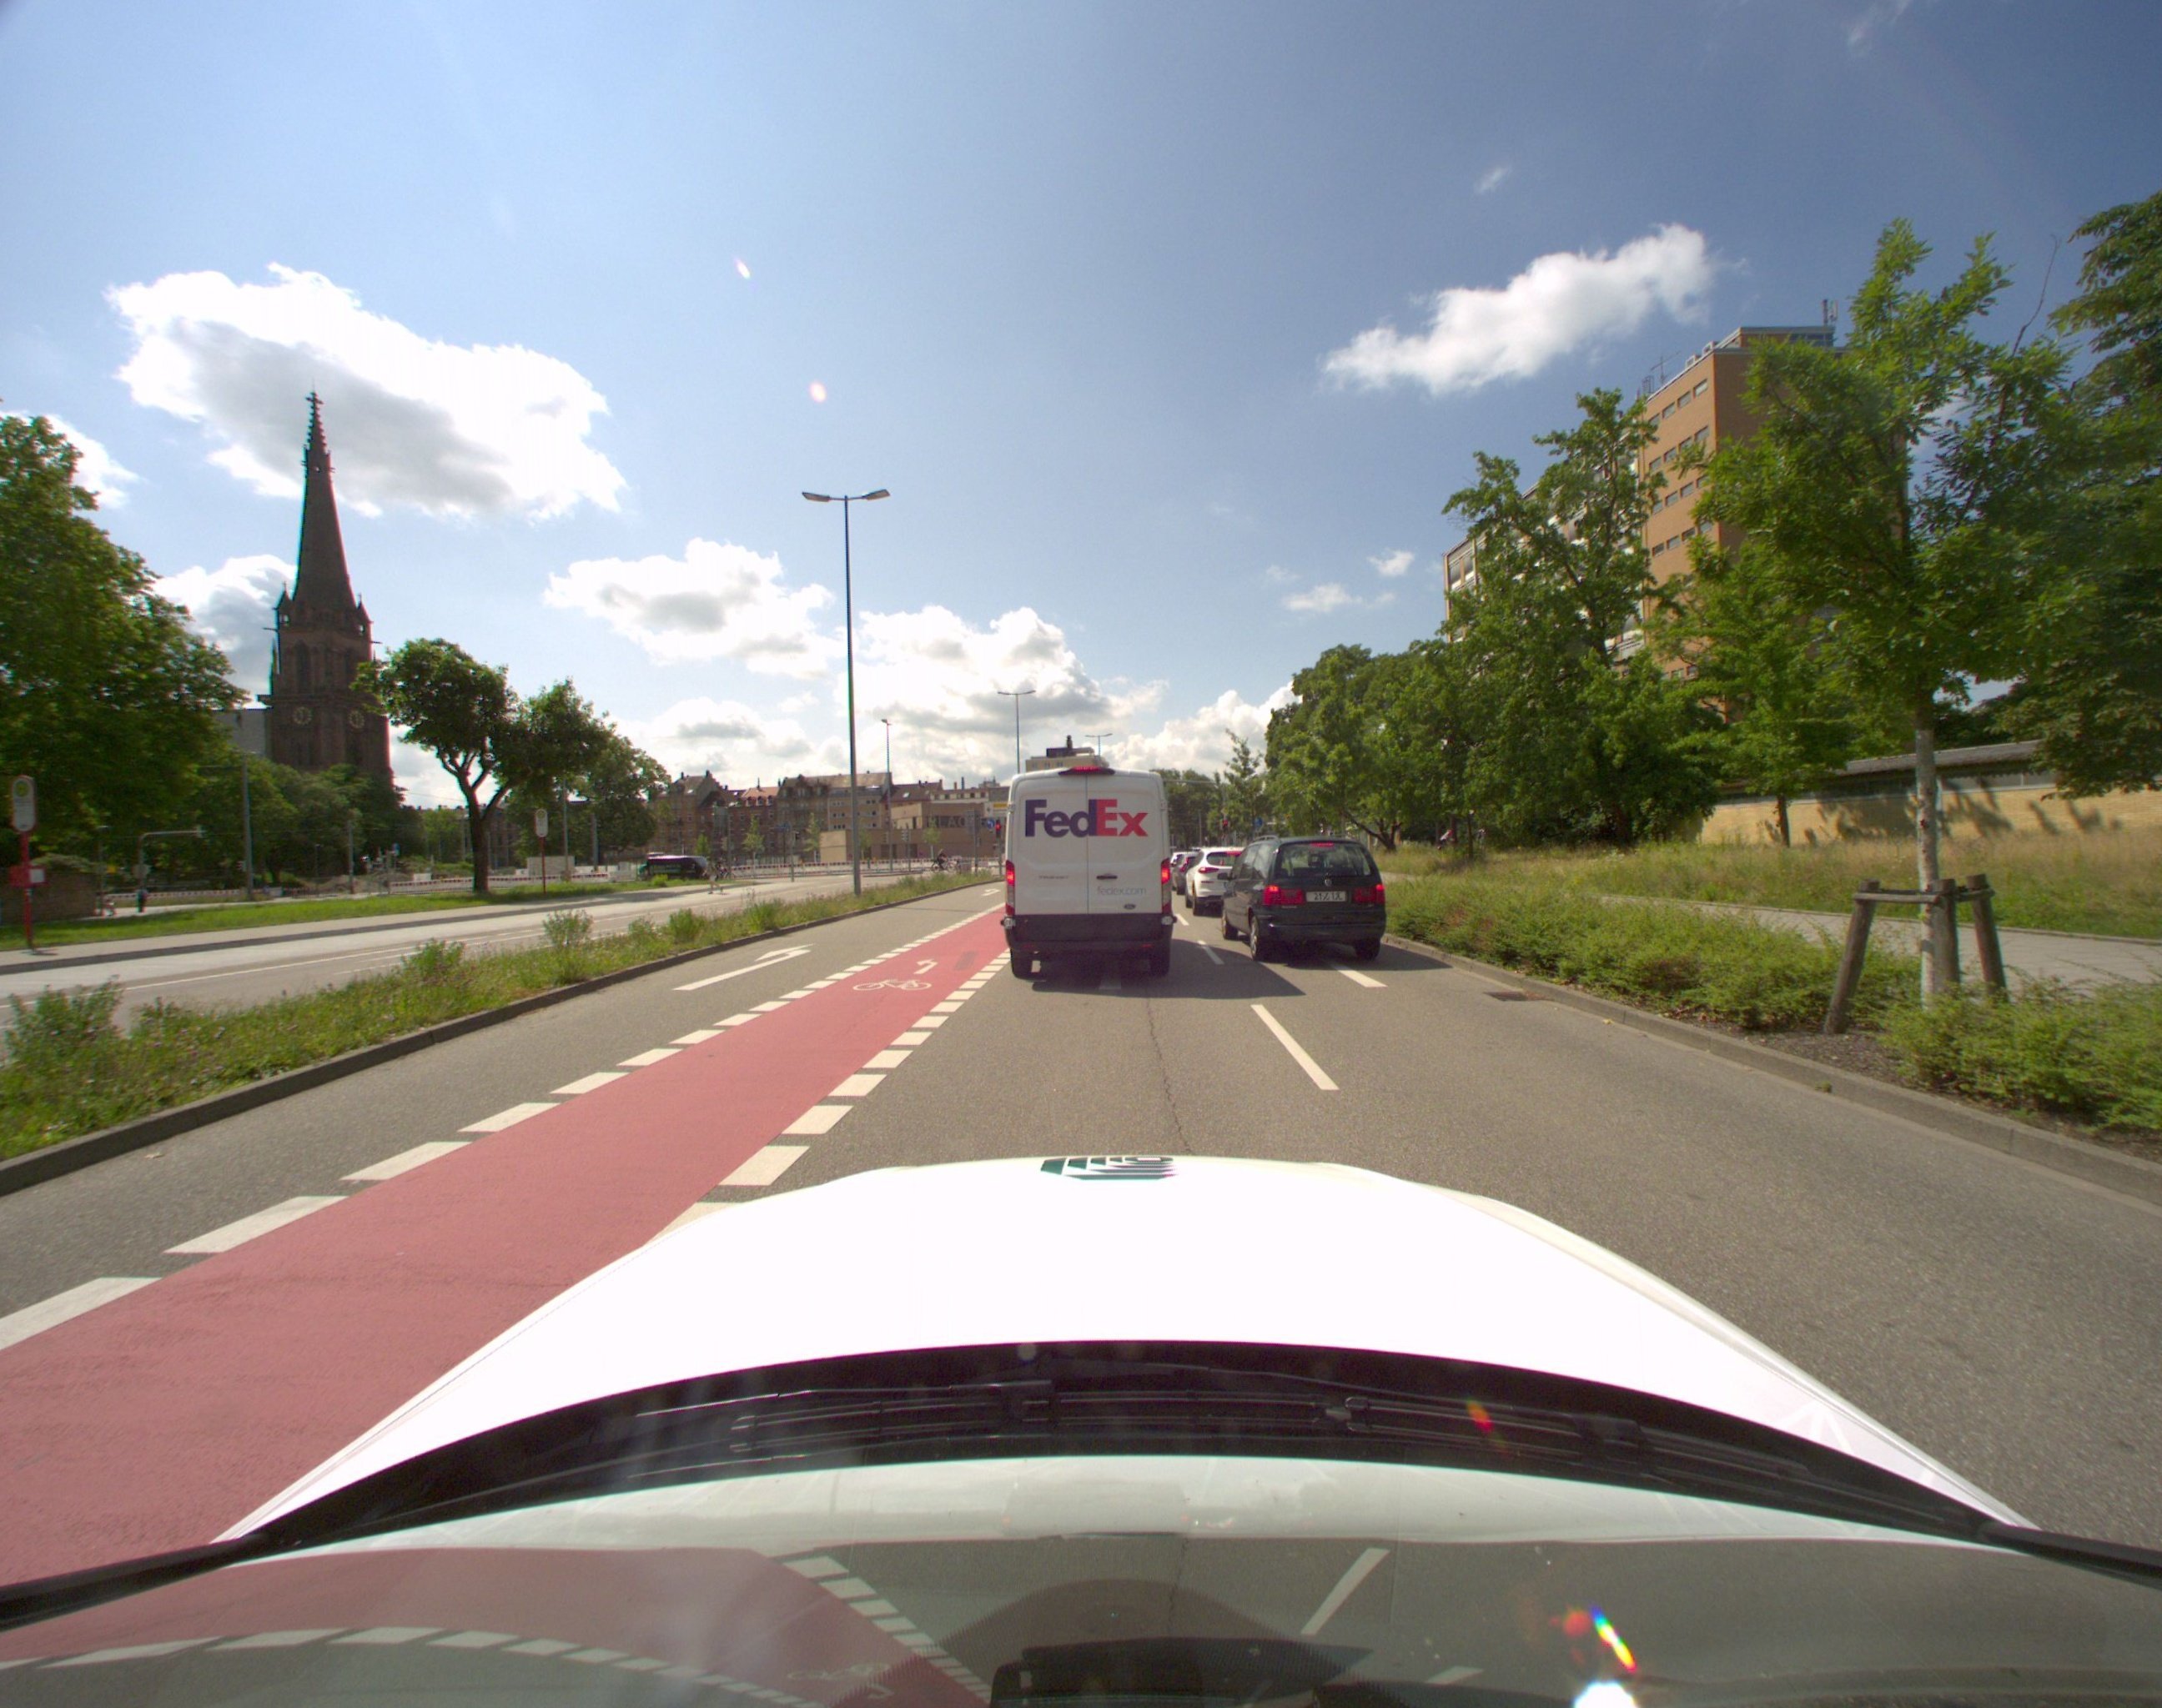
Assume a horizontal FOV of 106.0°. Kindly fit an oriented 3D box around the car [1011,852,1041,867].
[{"bbox_3d":[-6.067,0.564,90.386,1.886,1.585,4.017,-2,0,16],"label":"car"}]

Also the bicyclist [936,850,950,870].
[{"bbox_3d":[-10.578,0.452,62.268,0.966,1.474,0.550,-2,0,-5],"label":"bicyclist"}]

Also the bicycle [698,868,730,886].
[{"bbox_3d":[-27.864,1.722,61.870,2.060,1.290,0.603,-2,0,-4],"label":"bicycle"}]

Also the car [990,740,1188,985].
[{"bbox_3d":[0.005,0.085,11.851,2.135,2.652,5.700,-1,0,-2],"label":"car"}]

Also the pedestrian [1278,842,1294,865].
[{"bbox_3d":[12.941,-0.022,51.438,0.841,1.389,0.741,-2,0,2],"label":"pedestrian"}]

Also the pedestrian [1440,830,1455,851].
[{"bbox_3d":[26.260,-0.995,58.360,0.891,1.472,0.488,-2,0,21],"label":"pedestrian"}]

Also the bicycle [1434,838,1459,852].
[{"bbox_3d":[26.211,-0.628,58.390,1.557,0.955,0.488,-2,0,21],"label":"bicycle"}]

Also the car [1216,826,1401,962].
[{"bbox_3d":[3.315,0.504,12.769,1.805,1.734,4.391,-1,0,2],"label":"car"}]

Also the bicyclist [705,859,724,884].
[{"bbox_3d":[-27.874,1.308,61.899,1.117,1.844,0.592,-2,0,-4],"label":"bicyclist"}]

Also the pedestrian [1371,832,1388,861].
[{"bbox_3d":[21.999,-0.543,59.978,0.739,2.058,0.843,-2,0,-14],"label":"pedestrian"}]

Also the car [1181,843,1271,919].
[{"bbox_3d":[3.575,0.603,20.705,1.790,1.687,4.005,-2,0,4],"label":"car"}]

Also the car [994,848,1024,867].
[{"bbox_3d":[-8.066,0.403,91.807,1.978,2.013,4.018,-2,0,17],"label":"car"}]

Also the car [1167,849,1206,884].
[{"bbox_3d":[4.645,0.529,36.177,1.478,1.428,3.437,-2,0,4],"label":"car"}]

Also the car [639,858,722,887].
[{"bbox_3d":[-28.995,1.340,59.059,4.994,1.879,1.928,-2,0,-2],"label":"car"}]

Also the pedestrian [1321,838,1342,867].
[{"bbox_3d":[13.670,-0.068,44.485,0.841,1.539,0.835,-2,0,2],"label":"pedestrian"}]

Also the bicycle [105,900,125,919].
[{"bbox_3d":[-50.010,2.872,42.153,1.644,0.902,0.549,-2,0,44],"label":"bicycle"}]

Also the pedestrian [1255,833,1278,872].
[{"bbox_3d":[9.251,-0.087,40.609,0.947,1.892,0.774,-2,0,2],"label":"pedestrian"}]

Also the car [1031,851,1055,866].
[{"bbox_3d":[-4.479,0.543,96.533,1.867,1.652,4.012,-2,0,10],"label":"car"}]

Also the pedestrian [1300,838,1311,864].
[{"bbox_3d":[17.180,-0.230,62.296,0.572,1.892,0.679,-2,0,2],"label":"pedestrian"}]

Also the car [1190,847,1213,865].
[{"bbox_3d":[12.990,0.184,87.653,1.980,1.794,4.386,-2,0,13],"label":"car"}]

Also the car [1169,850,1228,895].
[{"bbox_3d":[4.144,0.609,29.276,1.790,1.461,3.843,-2,0,4],"label":"car"}]

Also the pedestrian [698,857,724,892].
[{"bbox_3d":[-17.000,0.916,37.445,0.548,1.560,0.881,-2,0,44],"label":"pedestrian"}]

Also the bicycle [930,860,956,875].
[{"bbox_3d":[-10.558,1.017,62.271,1.917,1.030,0.547,-2,0,-6],"label":"bicycle"}]
